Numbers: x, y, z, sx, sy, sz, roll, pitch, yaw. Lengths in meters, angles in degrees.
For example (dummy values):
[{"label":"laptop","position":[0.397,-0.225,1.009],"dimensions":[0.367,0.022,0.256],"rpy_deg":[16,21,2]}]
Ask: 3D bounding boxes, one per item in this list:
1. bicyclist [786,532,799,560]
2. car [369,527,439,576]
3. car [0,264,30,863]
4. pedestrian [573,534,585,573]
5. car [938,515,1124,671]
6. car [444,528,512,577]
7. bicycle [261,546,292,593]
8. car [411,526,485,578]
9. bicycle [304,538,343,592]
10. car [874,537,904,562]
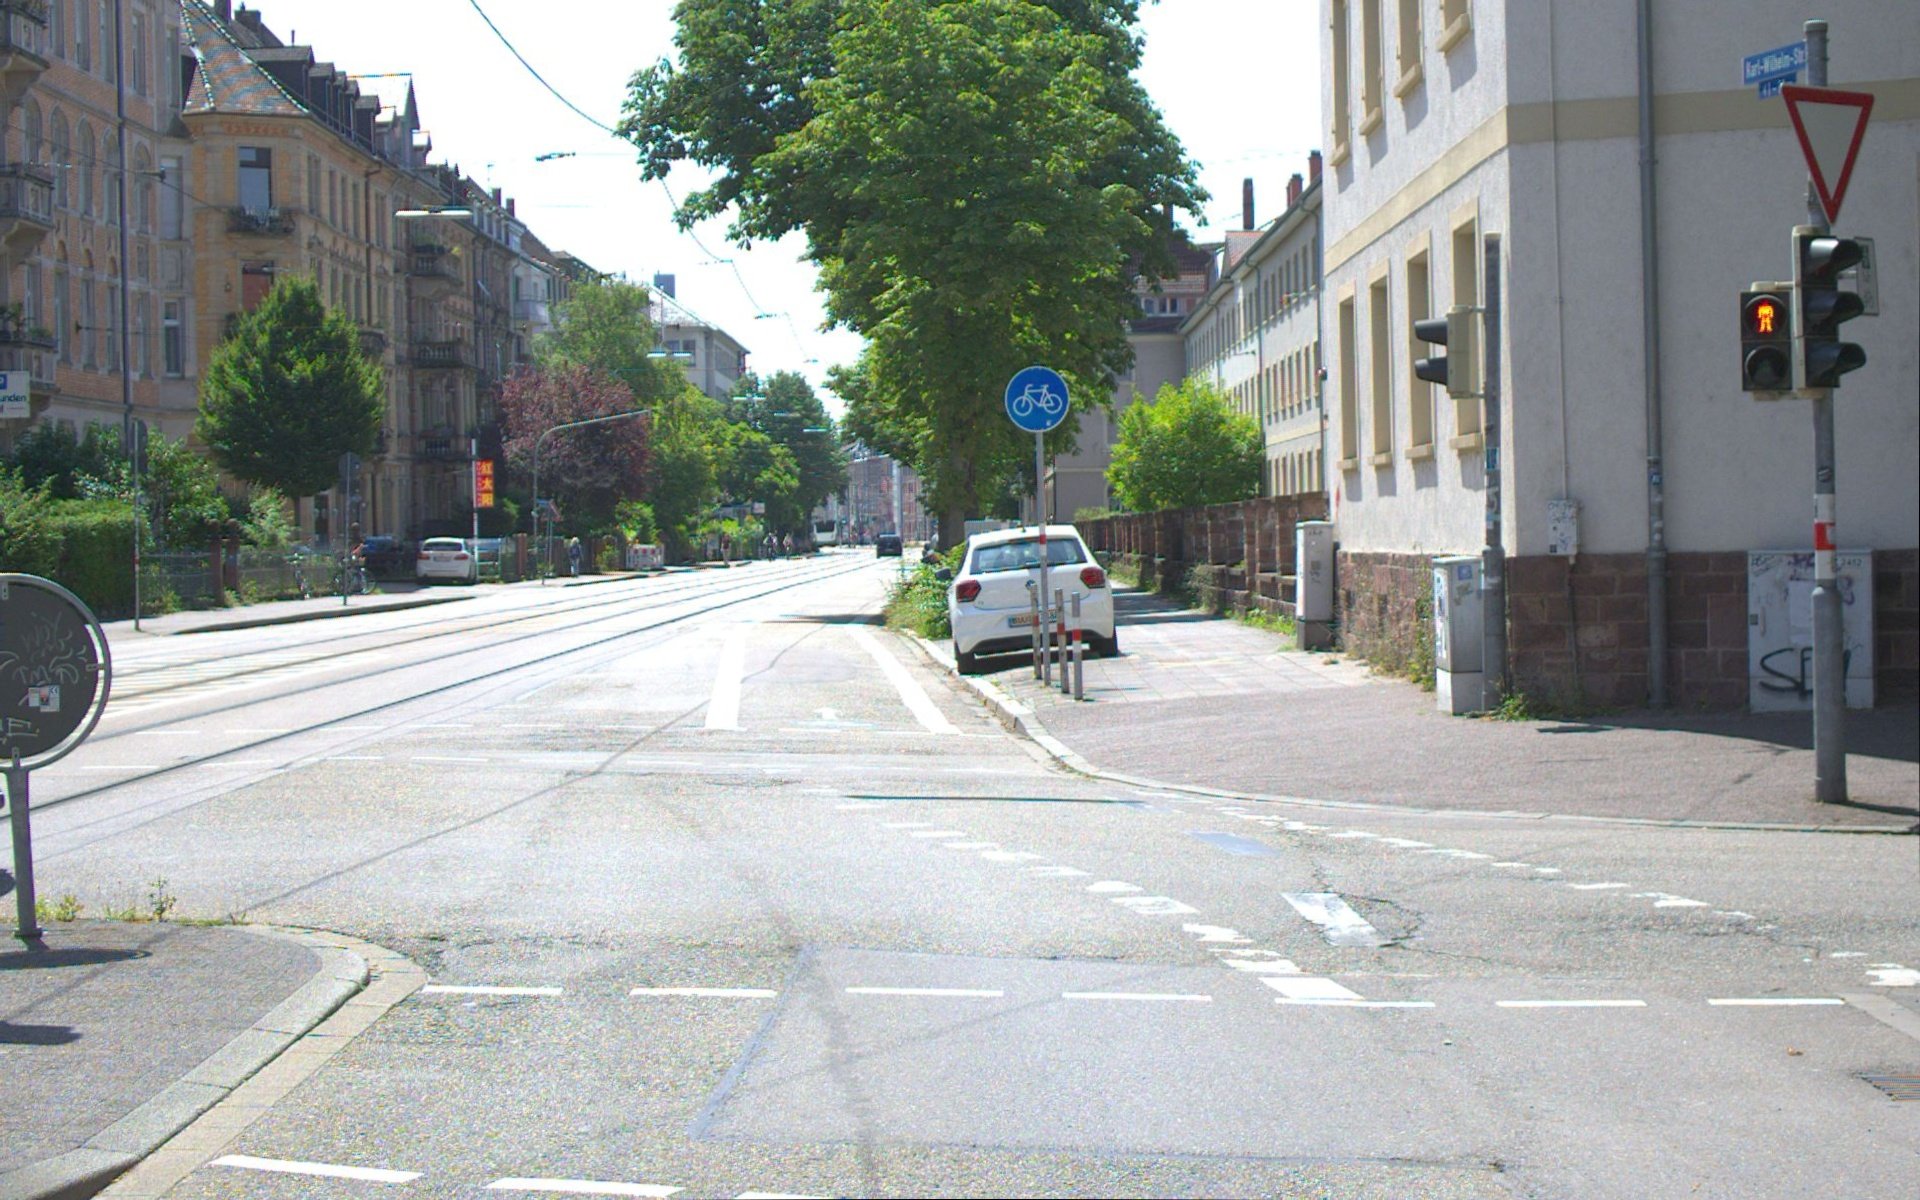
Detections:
[{"label":"bicyclist","position":[-10.954,-3.551,224.953],"dimensions":[0.727,1.812,1.079],"rpy_deg":[1,0,1]},{"label":"car","position":[-20.023,-1.730,123.909],"dimensions":[1.919,1.709,4.000],"rpy_deg":[1,1,-1]},{"label":"car","position":[-7.174,-0.104,14.549],"dimensions":[5.808,2.664,2.274],"rpy_deg":[-1,0,0]},{"label":"pedestrian","position":[-14.693,-1.795,132.576],"dimensions":[0.406,1.456,0.436],"rpy_deg":[-1,1,-1]},{"label":"car","position":[0.720,-0.094,37.338],"dimensions":[1.815,1.511,4.000],"rpy_deg":[-3,1,-1]},{"label":"car","position":[-17.337,-1.692,123.836],"dimensions":[1.919,1.709,4.000],"rpy_deg":[1,1,-1]},{"label":"bicycle","position":[-15.907,-0.719,80.033],"dimensions":[0.677,1.061,1.919],"rpy_deg":[-1,1,-11]},{"label":"car","position":[-17.193,-1.605,115.572],"dimensions":[1.919,1.709,4.000],"rpy_deg":[1,1,-1]},{"label":"bicycle","position":[-15.664,-0.871,84.675],"dimensions":[0.677,1.274,1.919],"rpy_deg":[-1,1,-3]},{"label":"car","position":[-4.459,-3.145,216.057],"dimensions":[1.825,1.514,4.000],"rpy_deg":[1,1,-1]}]
